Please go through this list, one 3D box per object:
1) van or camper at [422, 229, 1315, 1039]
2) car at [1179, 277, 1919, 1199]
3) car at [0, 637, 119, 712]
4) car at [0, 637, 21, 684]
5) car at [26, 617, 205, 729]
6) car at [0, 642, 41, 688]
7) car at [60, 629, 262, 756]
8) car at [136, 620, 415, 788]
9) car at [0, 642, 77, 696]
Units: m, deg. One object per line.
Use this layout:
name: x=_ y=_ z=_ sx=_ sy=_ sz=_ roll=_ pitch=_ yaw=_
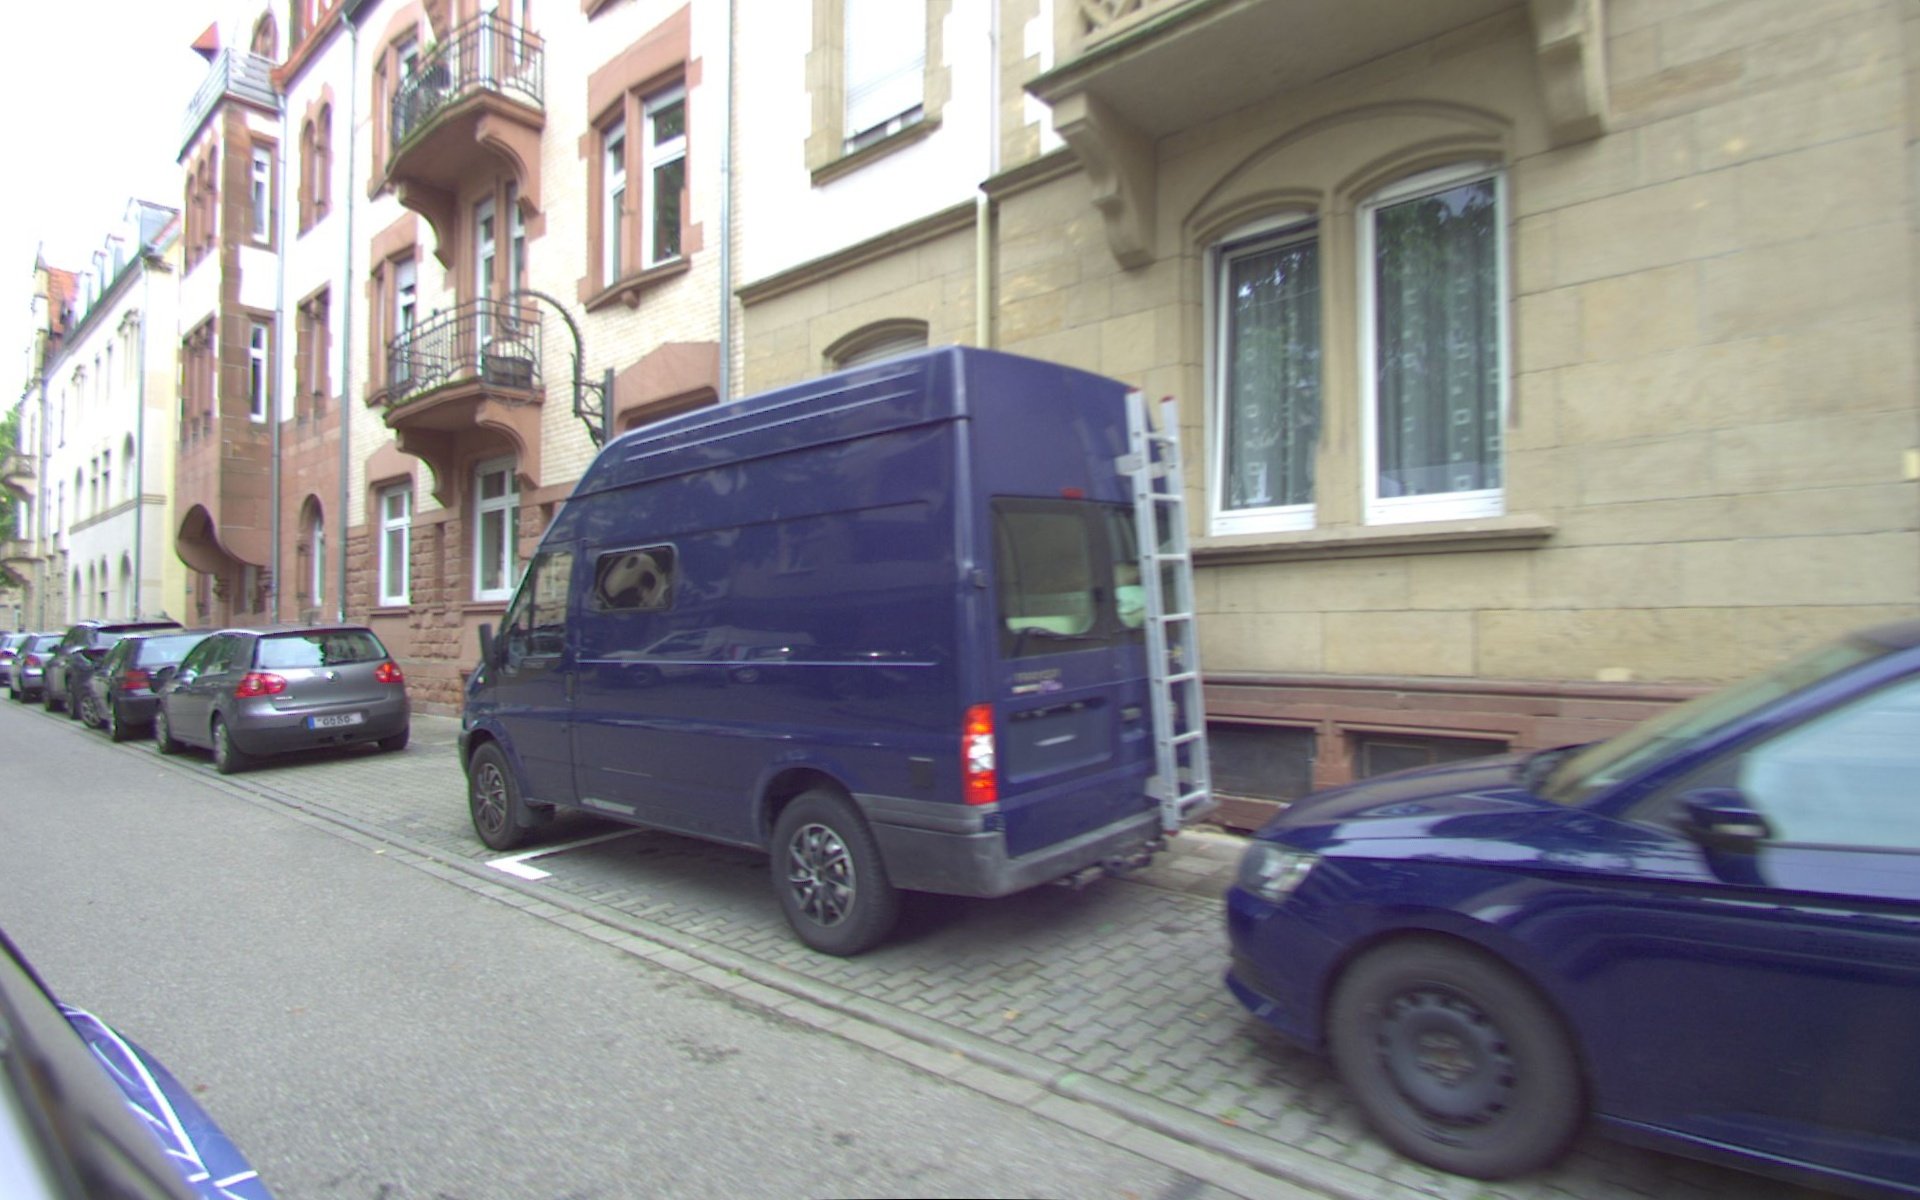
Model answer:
van or camper: x=-0.982 y=0.162 z=5.860 sx=5.314 sy=2.671 sz=1.987 roll=-2 pitch=0 yaw=42
car: x=3.155 y=0.343 z=2.112 sx=4.889 sy=2.029 sz=1.973 roll=-2 pitch=0 yaw=42
car: x=-19.767 y=1.578 z=22.106 sx=3.929 sy=1.431 sz=1.644 roll=-3 pitch=-1 yaw=43
car: x=-34.375 y=2.167 z=35.589 sx=2.955 sy=1.582 sz=1.630 roll=-4 pitch=-1 yaw=41
car: x=-15.246 y=1.243 z=18.186 sx=4.360 sy=1.659 sz=1.768 roll=-3 pitch=1 yaw=42
car: x=-31.115 y=2.102 z=32.746 sx=3.929 sy=1.397 sz=1.707 roll=-3 pitch=-3 yaw=43
car: x=-11.619 y=1.212 z=14.625 sx=3.999 sy=1.484 sz=1.617 roll=-1 pitch=1 yaw=42
car: x=-7.836 y=1.046 z=11.436 sx=3.999 sy=1.484 sz=1.650 roll=-2 pitch=1 yaw=42
car: x=-26.239 y=1.890 z=28.311 sx=4.134 sy=1.397 sz=1.708 roll=-3 pitch=-3 yaw=40
